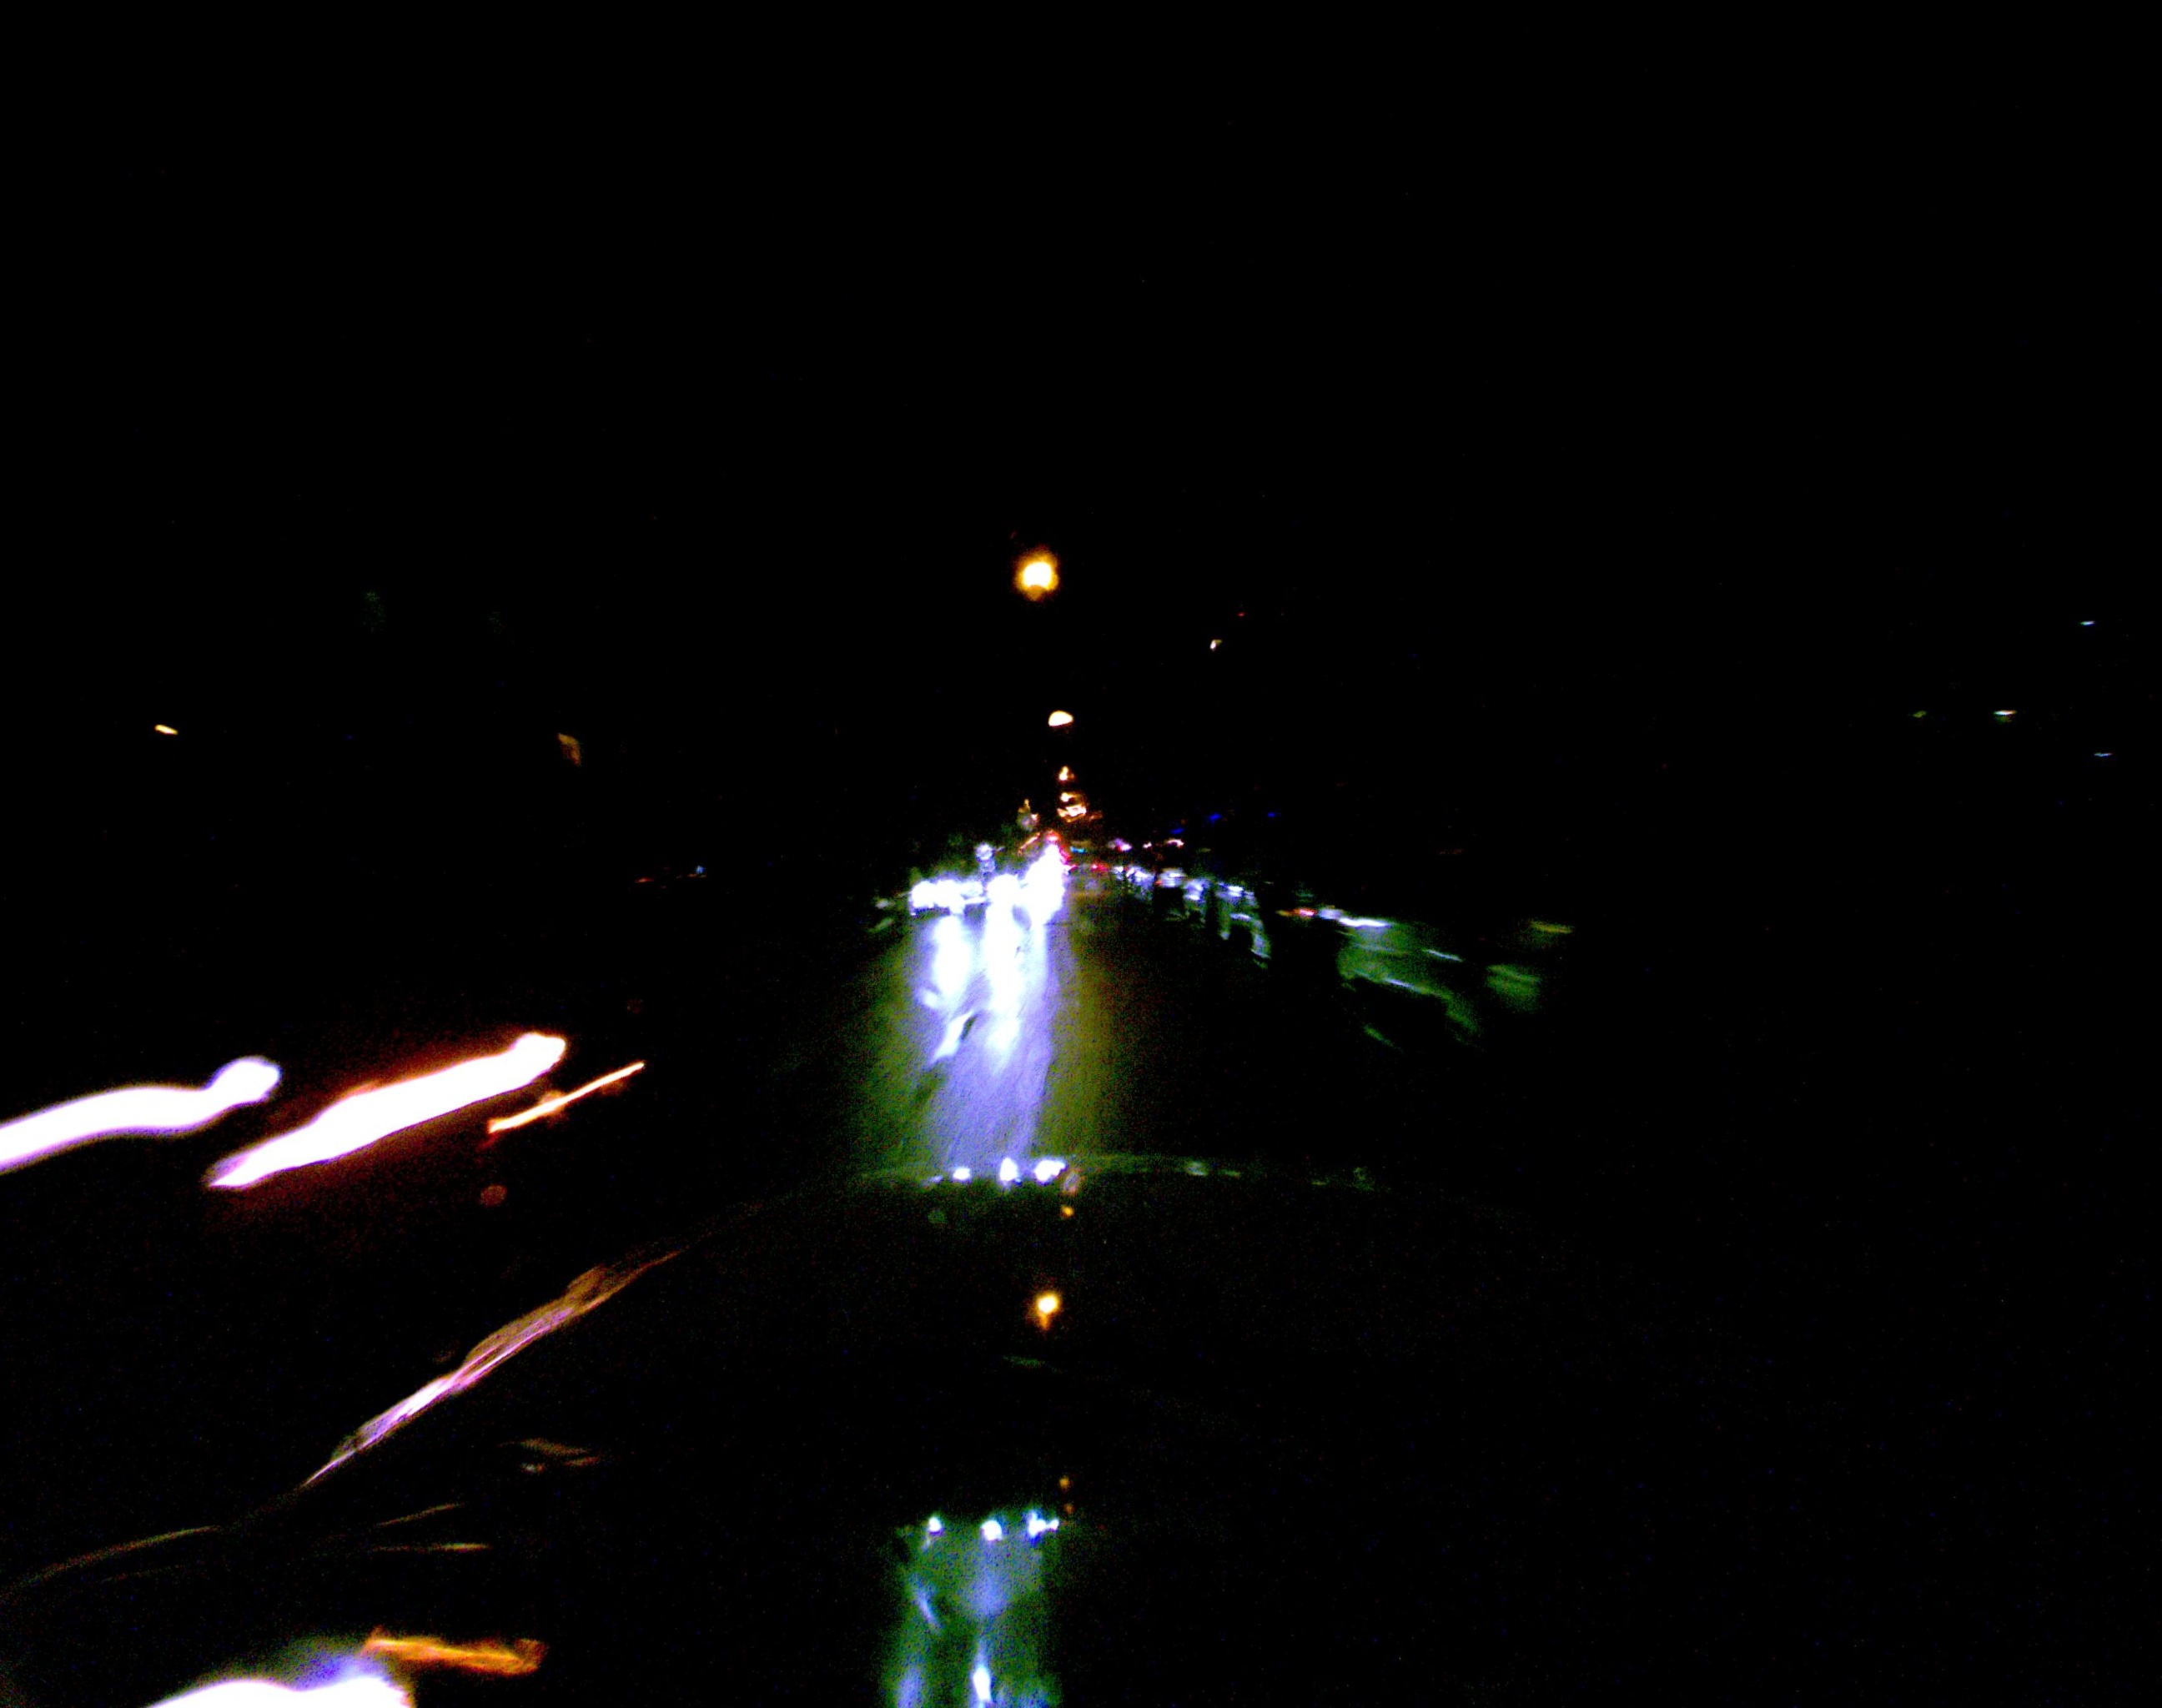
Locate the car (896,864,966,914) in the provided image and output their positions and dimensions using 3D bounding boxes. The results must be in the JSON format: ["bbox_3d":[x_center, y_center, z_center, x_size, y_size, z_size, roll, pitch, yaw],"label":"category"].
[{"bbox_3d":[-5.639,1.284,31.086,1.606,1.535,4.302,-6,0,2],"label":"car"}]

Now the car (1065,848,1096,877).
[{"bbox_3d":[0.000,0.581,56.218,1.987,1.683,4.001,-3,2,0],"label":"car"}]

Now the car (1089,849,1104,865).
[{"bbox_3d":[1.793,0.319,94.135,1.531,1.709,3.802,-5,0,-1],"label":"car"}]

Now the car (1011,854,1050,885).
[{"bbox_3d":[-2.624,0.799,43.178,1.852,1.461,4.520,-3,0,-2],"label":"car"}]

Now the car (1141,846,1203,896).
[{"bbox_3d":[3.122,0.539,28.824,1.623,1.466,4.510,-5,0,1],"label":"car"}]

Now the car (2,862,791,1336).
[{"bbox_3d":[-2.795,0.838,4.125,1.542,1.499,2.794,-2,0,1],"label":"car"}]

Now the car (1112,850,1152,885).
[{"bbox_3d":[2.755,0.717,44.937,1.815,1.673,3.999,-5,0,-1],"label":"car"}]

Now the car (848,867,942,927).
[{"bbox_3d":[-5.497,1.217,24.660,1.572,1.457,4.645,-6,-1,1],"label":"car"}]

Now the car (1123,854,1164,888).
[{"bbox_3d":[2.932,0.765,38.673,1.491,1.388,3.746,-5,0,-1],"label":"car"}]

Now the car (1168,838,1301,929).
[{"bbox_3d":[3.227,0.554,18.115,1.876,1.572,4.586,-6,1,-1],"label":"car"}]

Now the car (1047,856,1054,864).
[{"bbox_3d":[-7.065,1.337,189.691,1.531,1.709,3.802,-5,0,-1],"label":"car"}]

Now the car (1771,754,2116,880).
[{"bbox_3d":[14.879,-0.615,14.224,4.051,1.789,1.750,-4,0,1],"label":"car"}]

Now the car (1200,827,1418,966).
[{"bbox_3d":[3.214,0.510,12.548,1.876,1.572,4.525,-6,1,-1],"label":"car"}]

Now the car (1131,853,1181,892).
[{"bbox_3d":[3.126,0.732,34.392,1.599,1.388,3.791,-6,0,-1],"label":"car"}]

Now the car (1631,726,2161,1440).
[{"bbox_3d":[3.377,0.478,1.503,1.708,1.707,4.185,-6,1,-1],"label":"car"}]

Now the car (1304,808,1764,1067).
[{"bbox_3d":[3.543,0.531,7.413,1.749,1.528,4.152,-6,0,0],"label":"car"}]

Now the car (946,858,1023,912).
[{"bbox_3d":[-2.862,0.884,24.981,1.670,1.434,4.513,-3,0,1],"label":"car"}]

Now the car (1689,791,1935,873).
[{"bbox_3d":[15.335,-0.449,17.224,3.673,1.400,1.621,-4,0,1],"label":"car"}]

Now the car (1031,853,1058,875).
[{"bbox_3d":[-2.685,0.706,61.067,1.815,1.463,4.863,-3,0,-1],"label":"car"}]
